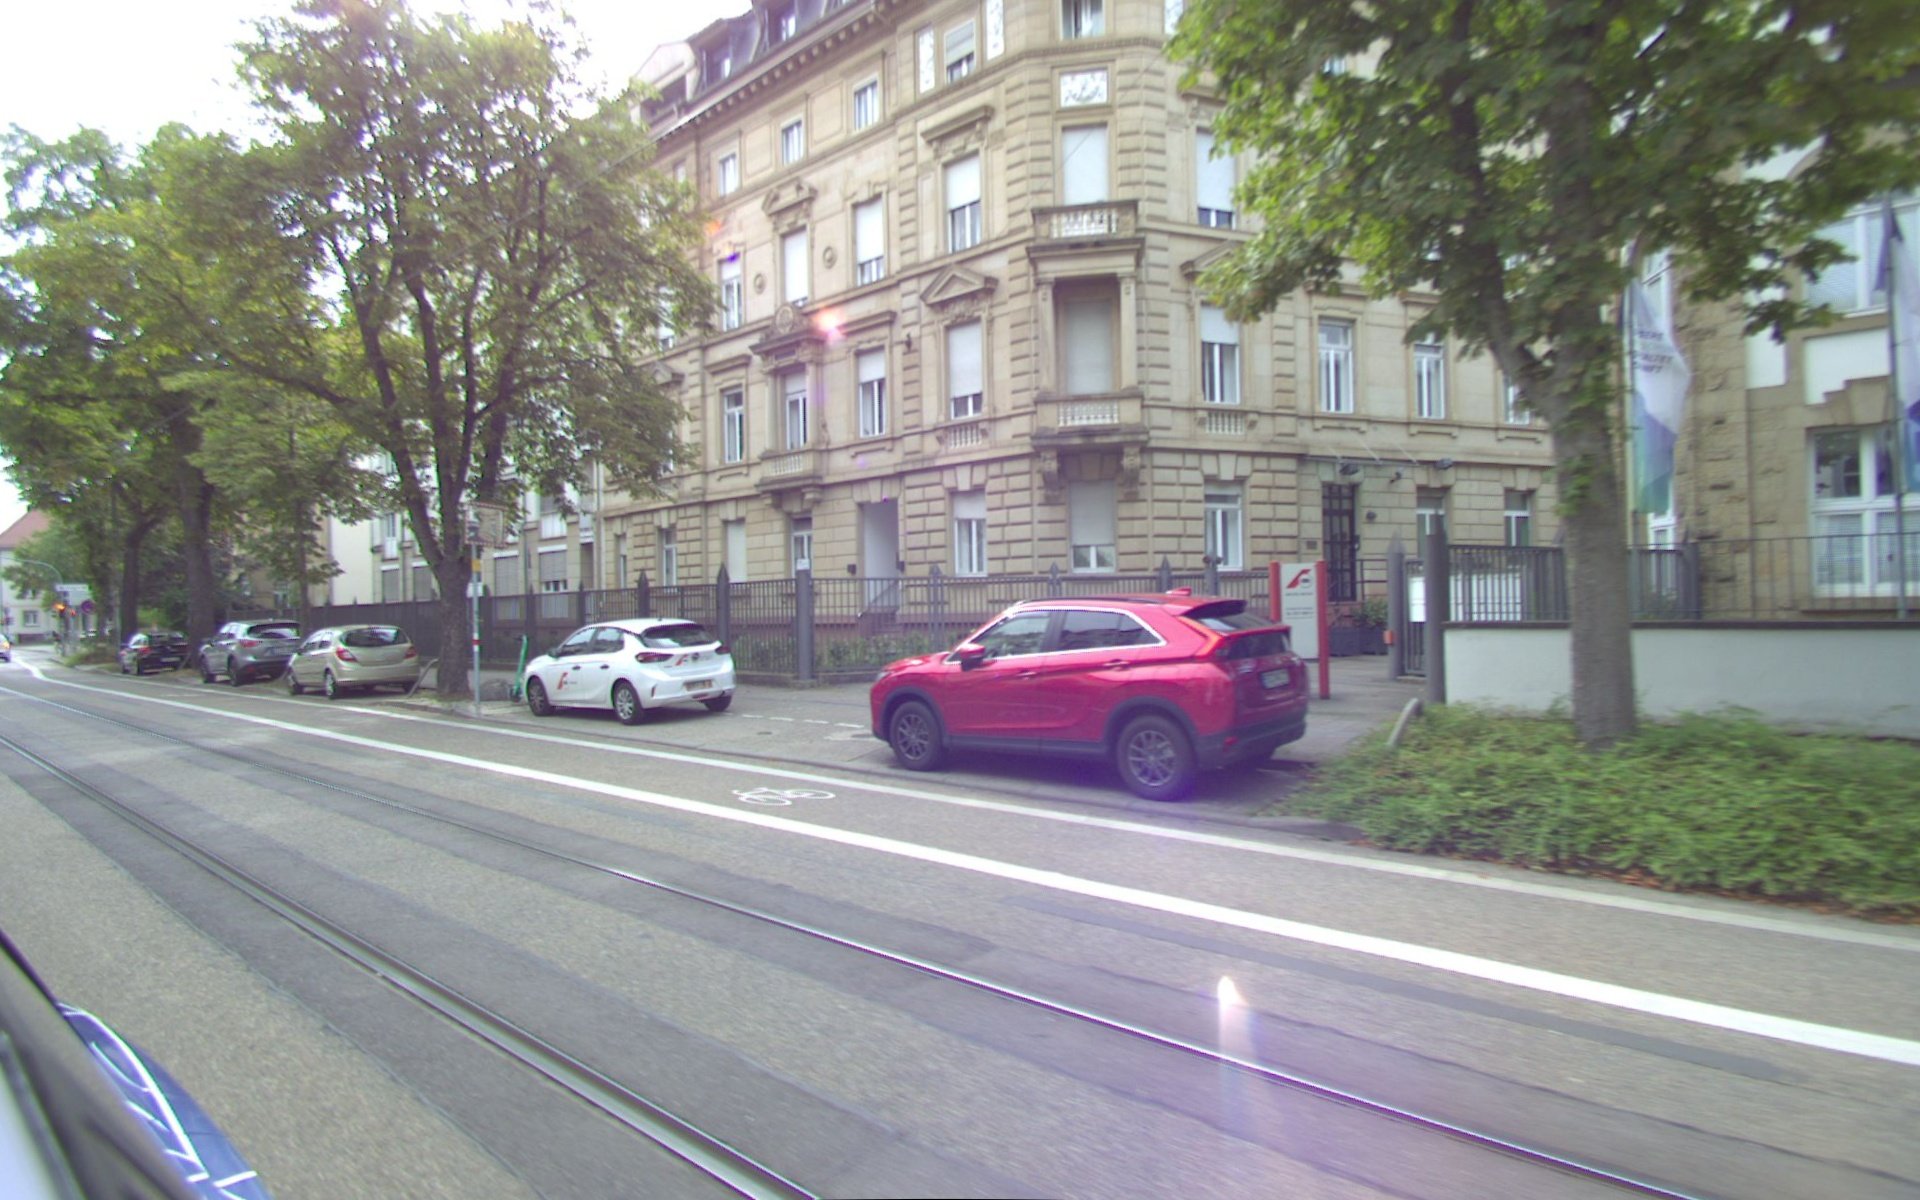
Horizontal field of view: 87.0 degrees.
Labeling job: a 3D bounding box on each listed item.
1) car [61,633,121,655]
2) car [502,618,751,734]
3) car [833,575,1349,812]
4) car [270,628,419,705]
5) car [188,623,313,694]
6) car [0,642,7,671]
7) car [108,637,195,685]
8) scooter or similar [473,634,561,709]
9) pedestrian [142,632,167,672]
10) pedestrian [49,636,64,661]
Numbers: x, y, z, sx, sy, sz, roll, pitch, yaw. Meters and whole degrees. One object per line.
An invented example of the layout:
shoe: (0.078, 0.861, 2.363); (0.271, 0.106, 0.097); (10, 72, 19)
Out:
car: (-87.407, 4.426, 101.794); (4.129, 1.878, 1.859); (-2, 0, -14)
car: (-5.167, 1.077, 15.430); (4.020, 1.434, 1.704); (-2, 1, 40)
car: (1.019, 0.724, 9.461); (4.539, 1.667, 1.704); (-2, 1, 40)
car: (-13.445, 1.396, 22.005); (4.077, 1.479, 1.584); (-2, -1, 41)
car: (-18.946, 1.508, 26.943); (4.354, 1.686, 1.693); (-2, -1, 41)
car: (-49.963, 2.876, 51.818); (4.002, 1.427, 1.553); (-3, -3, 45)
car: (-27.971, 2.054, 34.964); (4.166, 1.435, 1.702); (-2, 1, 43)
scooter or similar: (-7.596, 1.223, 17.354); (1.312, 1.232, 0.559); (-2, -1, 18)
pedestrian: (-35.985, 2.313, 45.209); (0.700, 1.748, 0.698); (-2, 0, 36)
pedestrian: (-64.400, 3.446, 72.137); (0.711, 1.703, 0.646); (-2, -1, 37)
